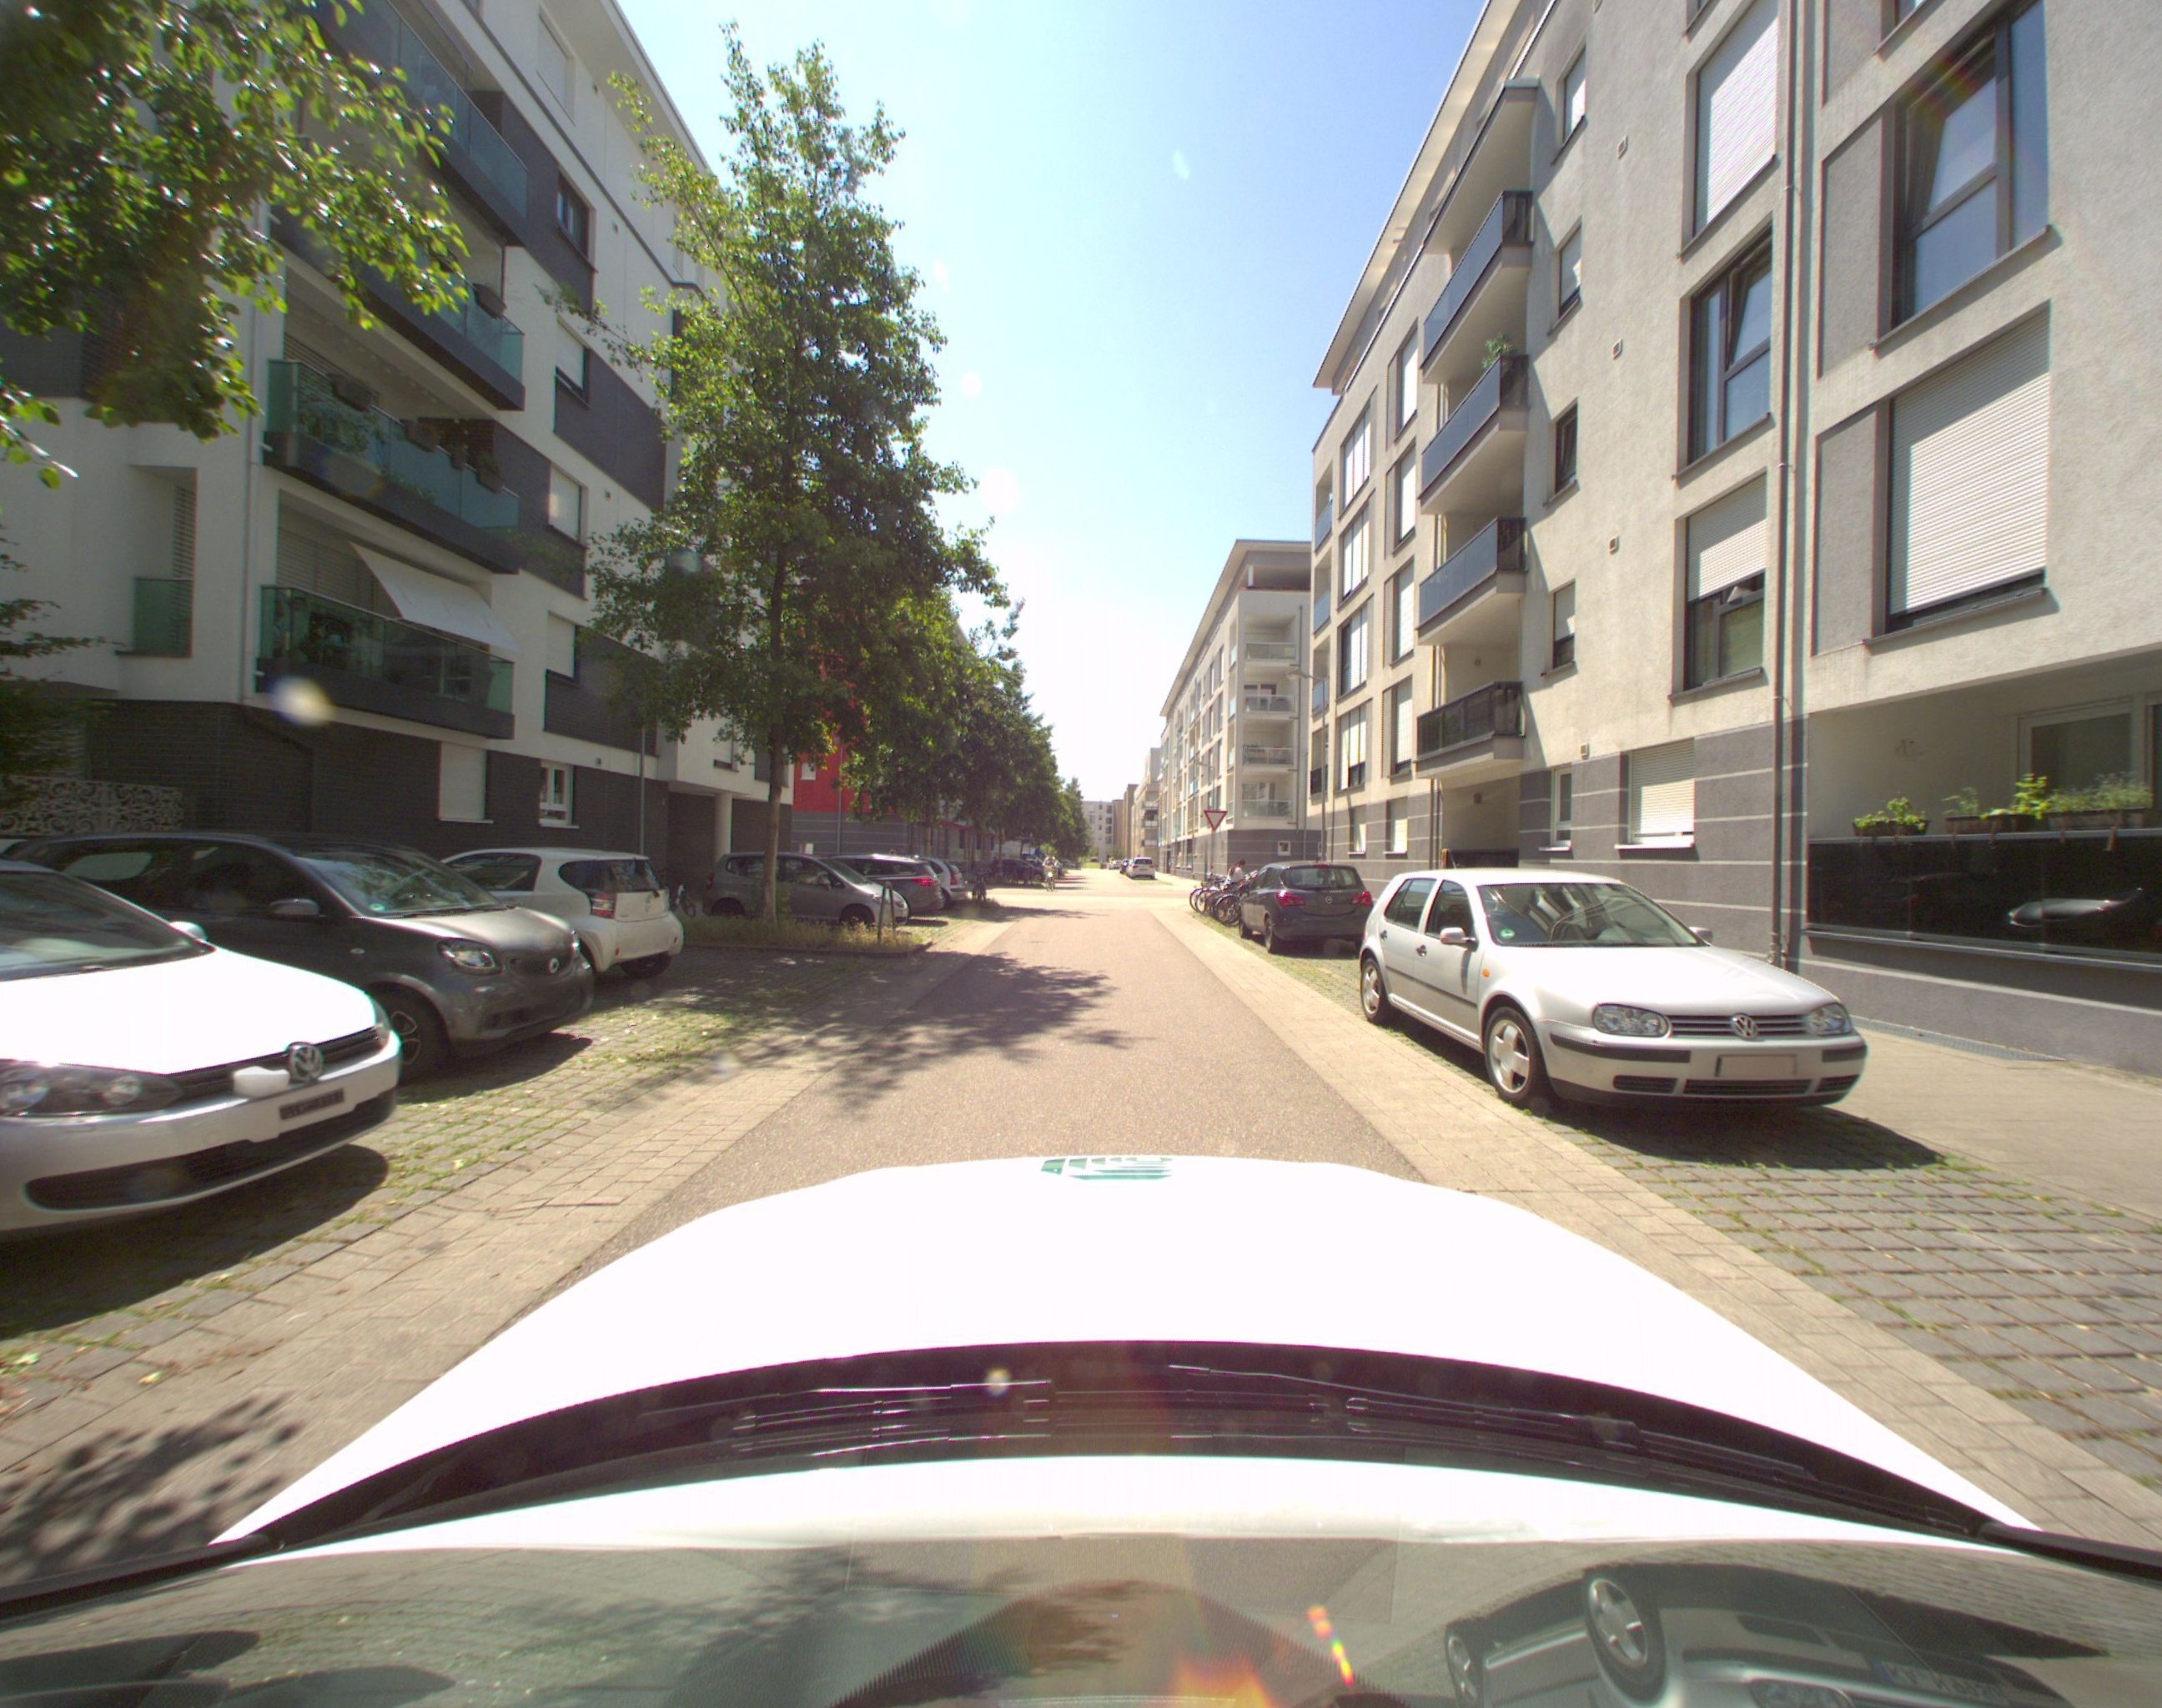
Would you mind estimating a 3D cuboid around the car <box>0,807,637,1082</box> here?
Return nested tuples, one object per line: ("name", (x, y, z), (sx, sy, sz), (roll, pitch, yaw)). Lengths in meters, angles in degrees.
("car", (-5.620, 0.564, 5.897), (3.701, 1.586, 1.818), (3, -1, -5))

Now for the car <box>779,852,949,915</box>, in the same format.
("car", (-5.668, 0.748, 21.604), (3.971, 1.555, 1.801), (0, -1, 2))

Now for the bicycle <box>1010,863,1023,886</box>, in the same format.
("bicycle", (-3.567, 1.130, 44.864), (0.569, 1.174, 1.765), (4, 1, -6))

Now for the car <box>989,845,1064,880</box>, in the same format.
("car", (-4.466, 0.669, 67.620), (6.003, 2.816, 2.605), (0, -1, 0))

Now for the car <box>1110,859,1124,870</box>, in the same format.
("car", (5.748, 1.680, 130.777), (1.987, 1.675, 3.999), (1, 0, 0))

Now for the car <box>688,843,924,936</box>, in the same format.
("car", (-5.288, 0.670, 16.061), (3.924, 1.553, 1.872), (3, 0, 0))

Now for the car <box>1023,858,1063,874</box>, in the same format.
("car", (-3.912, 1.224, 84.815), (3.970, 1.618, 2.001), (1, -1, 3))

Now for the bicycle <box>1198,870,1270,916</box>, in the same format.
("bicycle", (3.939, 0.994, 21.004), (1.839, 1.148, 0.458), (0, -1, -18))

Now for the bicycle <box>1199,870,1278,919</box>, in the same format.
("bicycle", (3.940, 1.006, 20.420), (1.922, 1.218, 0.459), (0, -1, -9))

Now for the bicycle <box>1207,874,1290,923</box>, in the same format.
("bicycle", (3.897, 1.025, 19.064), (1.782, 1.104, 0.746), (0, -1, -3))

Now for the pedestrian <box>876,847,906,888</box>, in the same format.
("pedestrian", (-8.007, 0.567, 34.376), (0.996, 1.690, 0.832), (1, -1, 1))

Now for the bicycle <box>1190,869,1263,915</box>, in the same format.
("bicycle", (3.923, 1.013, 21.975), (1.911, 1.179, 0.640), (0, -1, 10))

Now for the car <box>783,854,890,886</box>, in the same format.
("car", (-11.803, 0.778, 39.494), (4.560, 1.383, 1.936), (1, 1, -2))

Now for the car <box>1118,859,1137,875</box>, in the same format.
("car", (4.711, 1.320, 82.227), (1.749, 1.552, 4.005), (2, 0, 4))

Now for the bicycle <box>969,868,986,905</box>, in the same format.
("bicycle", (-3.358, 1.031, 26.348), (0.434, 1.128, 1.971), (1, -1, -11))

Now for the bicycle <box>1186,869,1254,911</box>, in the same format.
("bicycle", (3.972, 1.020, 23.367), (1.851, 1.193, 0.688), (0, -1, 3))

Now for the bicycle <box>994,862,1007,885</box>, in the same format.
("bicycle", (-4.457, 1.073, 45.132), (0.517, 1.204, 1.751), (3, 1, -1))

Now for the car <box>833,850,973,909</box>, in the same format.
("car", (-5.141, 0.722, 23.875), (3.617, 1.520, 1.832), (3, -1, 1))

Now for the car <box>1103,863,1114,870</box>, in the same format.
("car", (5.796, 2.649, 172.064), (1.987, 1.519, 3.999), (1, 0, 0))

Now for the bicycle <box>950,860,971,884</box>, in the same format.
("bicycle", (-6.625, 0.977, 44.776), (0.687, 1.170, 2.223), (3, 1, 1))

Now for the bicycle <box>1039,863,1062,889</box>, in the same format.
("bicycle", (-1.356, 0.969, 36.562), (0.895, 1.129, 2.040), (1, 0, 0))

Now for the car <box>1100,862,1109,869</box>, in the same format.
("car", (5.519, 2.718, 193.320), (1.985, 1.519, 4.003), (1, 0, 3))

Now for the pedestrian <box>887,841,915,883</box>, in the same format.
("pedestrian", (-8.767, 0.397, 39.683), (1.004, 2.014, 1.130), (1, -1, 4))

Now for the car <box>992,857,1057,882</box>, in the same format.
("car", (-3.960, 1.089, 57.738), (4.368, 1.542, 1.878), (3, -1, 1))

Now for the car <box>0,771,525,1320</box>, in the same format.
("car", (-5.268, 0.624, 3.478), (4.349, 1.710, 1.999), (-1, 0, -2))

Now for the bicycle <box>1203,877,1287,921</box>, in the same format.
("bicycle", (3.961, 1.077, 19.757), (1.919, 1.035, 0.559), (0, -1, -3))

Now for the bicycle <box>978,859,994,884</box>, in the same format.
("bicycle", (-5.223, 0.950, 44.931), (0.591, 1.331, 1.813), (1, 1, 2))

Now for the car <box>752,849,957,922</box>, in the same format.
("car", (-5.138, 0.724, 18.956), (4.171, 1.486, 1.956), (2, -2, -3))

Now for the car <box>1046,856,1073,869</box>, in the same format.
("car", (-3.342, 1.330, 126.455), (3.965, 2.014, 2.004), (1, -1, 7))

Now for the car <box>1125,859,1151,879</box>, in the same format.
("car", (4.705, 1.226, 67.816), (1.986, 1.524, 4.001), (0, 0, 2))

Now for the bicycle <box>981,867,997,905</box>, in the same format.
("bicycle", (-2.997, 1.008, 26.373), (0.371, 1.180, 1.814), (1, -1, -11))

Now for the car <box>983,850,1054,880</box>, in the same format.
("car", (-4.704, 0.832, 62.188), (5.127, 2.119, 2.312), (2, 0, 0))

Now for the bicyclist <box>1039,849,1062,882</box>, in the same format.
("bicyclist", (-1.353, 0.527, 36.535), (0.950, 1.459, 0.800), (1, -1, 0))

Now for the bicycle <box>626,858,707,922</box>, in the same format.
("bicycle", (-8.141, 0.680, 16.081), (0.564, 1.190, 1.776), (1, 0, 4))

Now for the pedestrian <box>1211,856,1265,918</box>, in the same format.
("pedestrian", (3.946, 0.815, 20.550), (1.178, 1.515, 0.686), (0, -1, -9))

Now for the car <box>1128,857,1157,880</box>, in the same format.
("car", (4.674, 1.070, 62.116), (1.990, 1.657, 4.116), (0, 0, 2))

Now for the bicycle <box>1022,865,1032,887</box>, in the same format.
("bicycle", (-2.975, 1.196, 45.078), (0.464, 1.141, 1.925), (1, 0, -1))

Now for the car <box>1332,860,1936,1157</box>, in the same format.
("car", (3.507, 0.806, 6.356), (1.827, 1.505, 4.351), (0, 0, 1))

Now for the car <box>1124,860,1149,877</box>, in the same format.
("car", (4.914, 1.265, 72.644), (1.987, 1.524, 3.999), (0, 0, 0))

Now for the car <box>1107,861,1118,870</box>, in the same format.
("car", (6.122, 2.294, 157.999), (1.987, 1.717, 3.999), (1, 0, 0))

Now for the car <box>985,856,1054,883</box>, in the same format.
("car", (-4.085, 1.038, 54.993), (4.368, 1.515, 2.075), (3, 0, 1))

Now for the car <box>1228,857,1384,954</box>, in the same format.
("car", (3.846, 0.807, 14.674), (1.732, 1.485, 4.229), (0, 0, 1))

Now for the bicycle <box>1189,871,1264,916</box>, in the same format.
("bicycle", (3.813, 1.022, 21.371), (1.911, 1.133, 0.611), (0, -1, 10))

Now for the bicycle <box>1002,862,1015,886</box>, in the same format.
("bicycle", (-3.999, 1.091, 44.875), (0.432, 1.204, 1.700), (3, 1, 2))

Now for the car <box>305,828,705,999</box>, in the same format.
("car", (-6.064, 0.588, 8.904), (2.923, 1.500, 1.848), (4, 0, -1))

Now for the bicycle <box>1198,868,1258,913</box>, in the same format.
("bicycle", (4.067, 1.005, 22.656), (1.546, 1.218, 0.707), (0, -1, -1))

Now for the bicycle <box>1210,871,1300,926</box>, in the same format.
("bicycle", (3.894, 0.986, 18.318), (1.865, 1.218, 0.715), (0, -1, -3))
